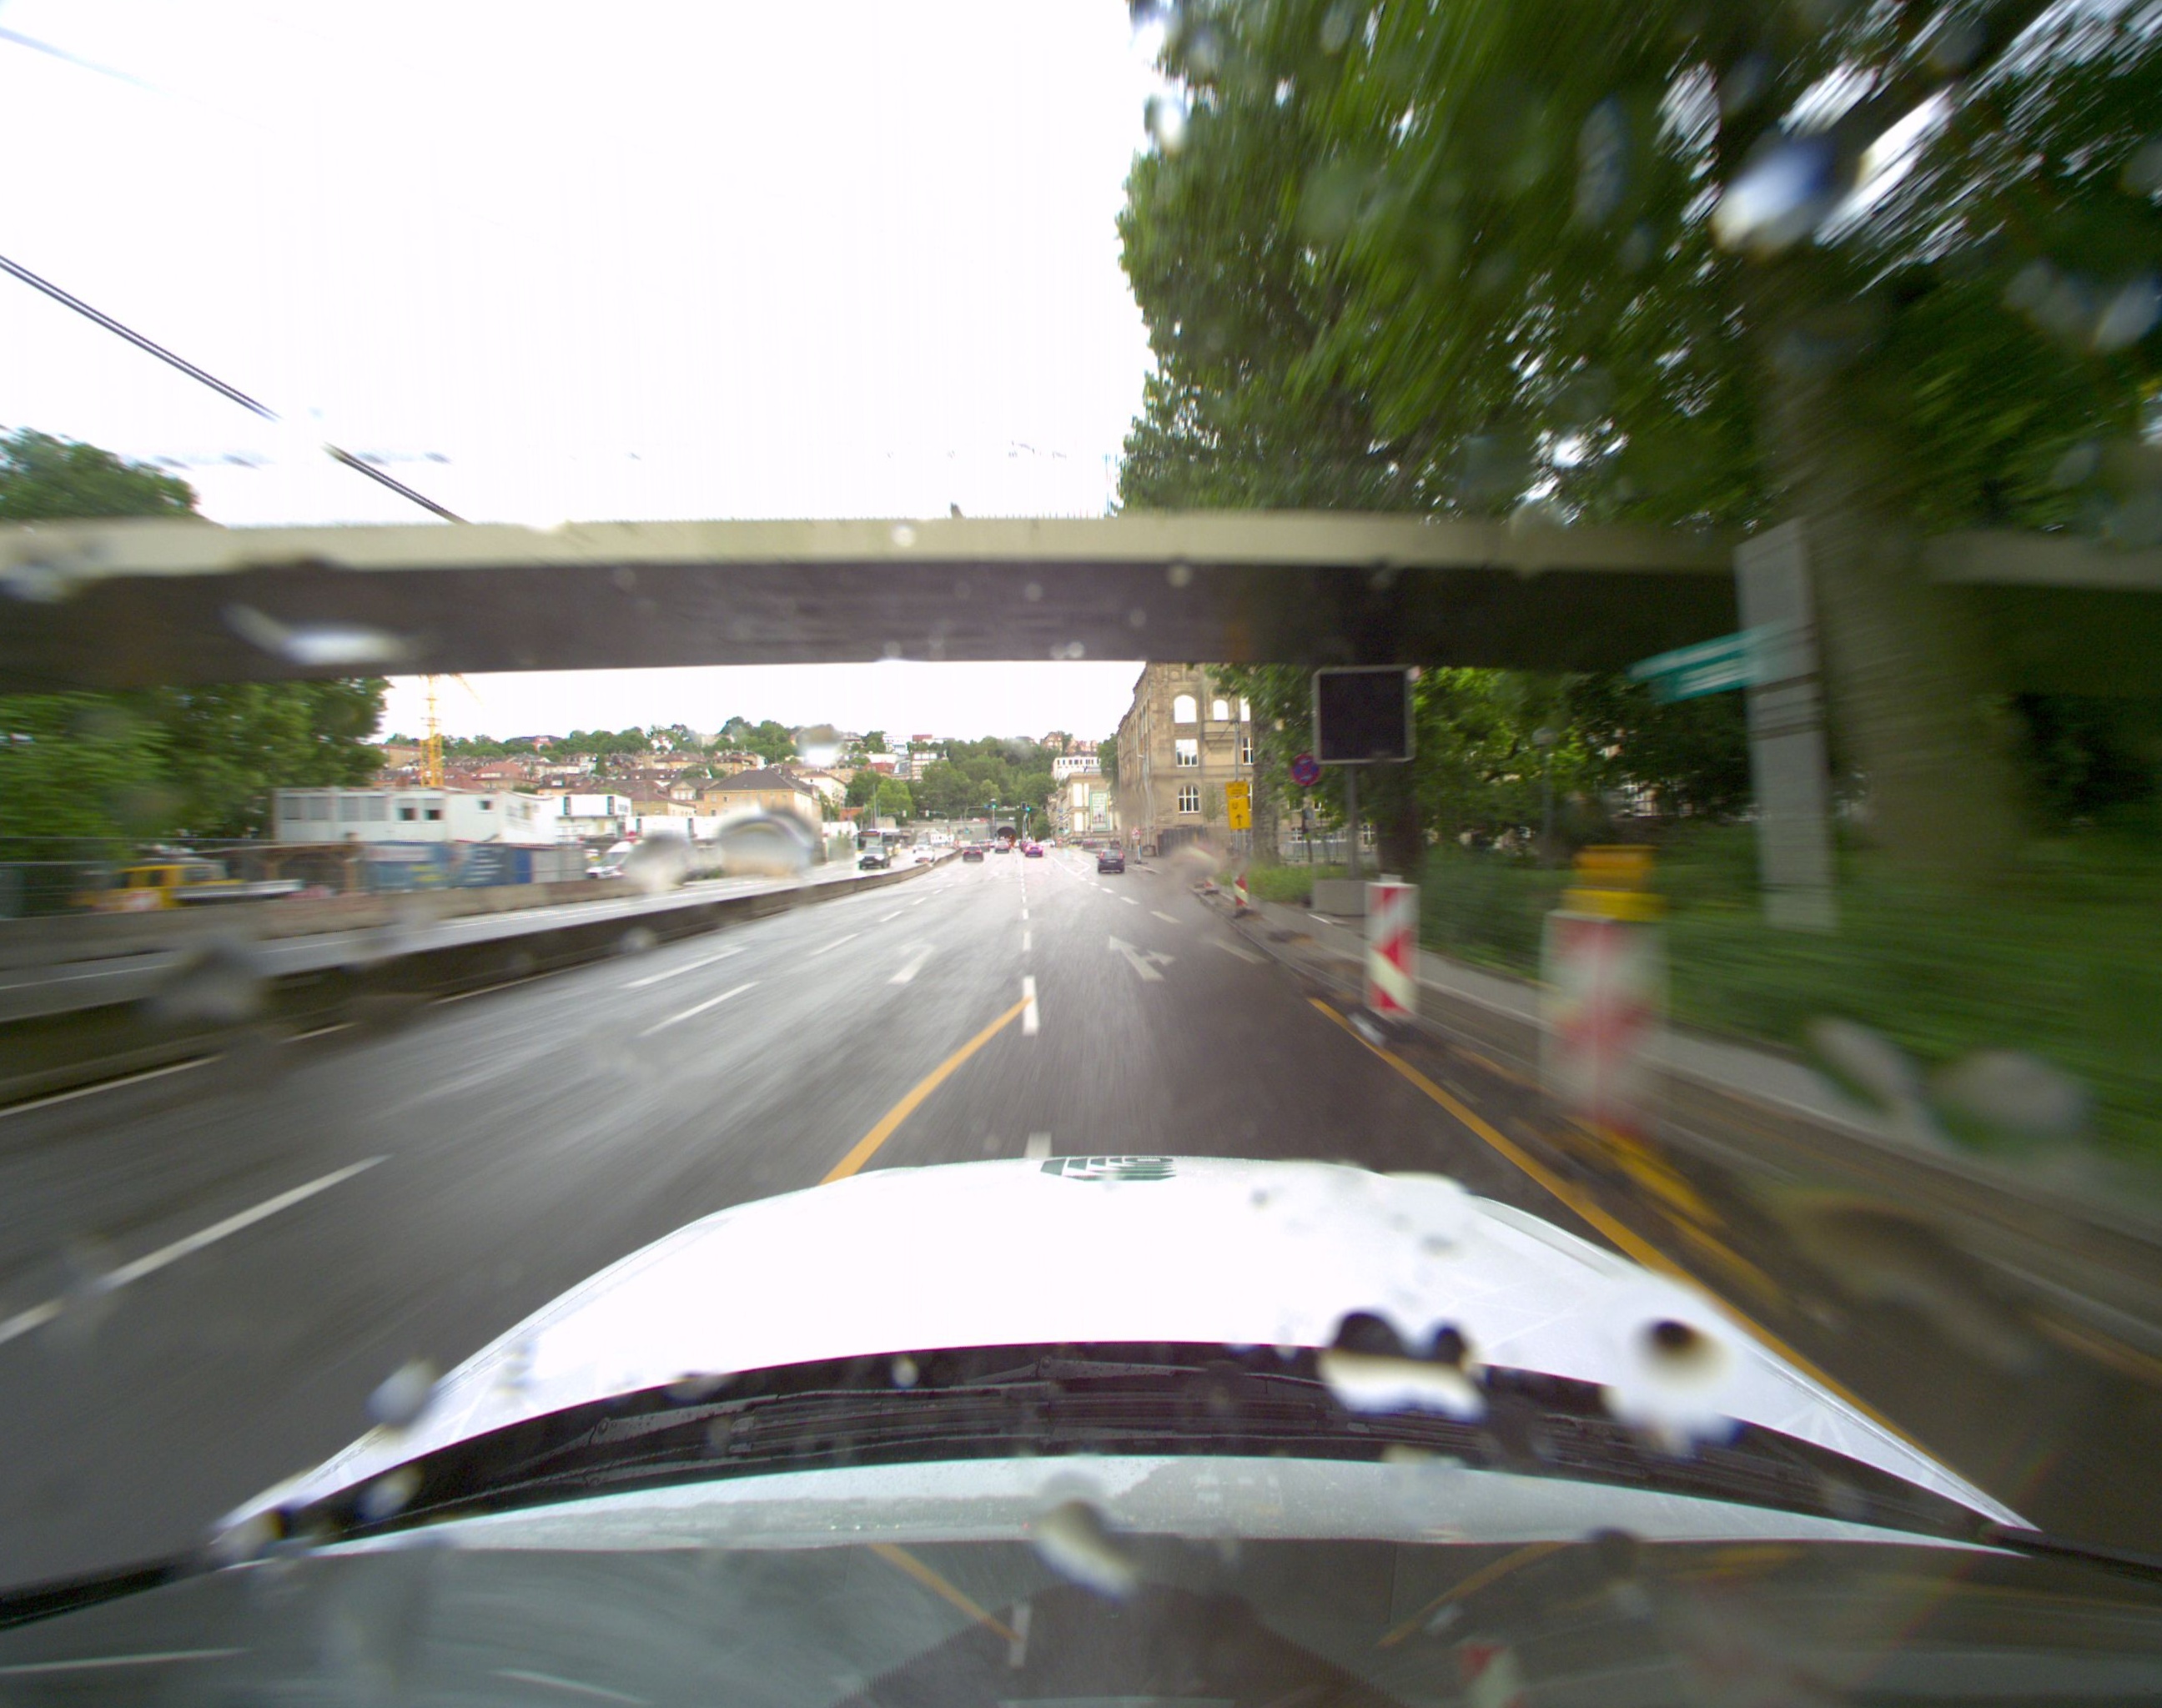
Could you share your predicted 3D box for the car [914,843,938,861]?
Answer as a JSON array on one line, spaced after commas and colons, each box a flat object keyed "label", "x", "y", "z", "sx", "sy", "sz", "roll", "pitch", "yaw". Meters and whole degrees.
[{"label": "car", "x": -14.182, "y": -0.179, "z": 74.787, "sx": 1.706, "sy": 1.489, "sz": 3.445, "roll": -3, "pitch": -1, "yaw": -4}]

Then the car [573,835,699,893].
[{"label": "car", "x": -24.153, "y": 0.525, "z": 44.499, "sx": 1.976, "sy": 2.875, "sz": 6.084, "roll": -3, "pitch": -1, "yaw": 21}]

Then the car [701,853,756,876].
[{"label": "car", "x": -26.784, "y": 0.796, "z": 62.073, "sx": 1.754, "sy": 1.565, "sz": 4.688, "roll": -3, "pitch": -1, "yaw": 4}]

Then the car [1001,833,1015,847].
[{"label": "car", "x": -10.965, "y": -2.150, "z": 122.331, "sx": 1.992, "sy": 1.869, "sz": 3.990, "roll": -3, "pitch": -1, "yaw": -7}]

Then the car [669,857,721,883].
[{"label": "car", "x": -26.975, "y": 1.082, "z": 57.062, "sx": 1.758, "sy": 1.565, "sz": 4.171, "roll": -2, "pitch": 1, "yaw": -3}]

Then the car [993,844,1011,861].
[{"label": "car", "x": -10.057, "y": -0.152, "z": 103.362, "sx": 2.049, "sy": 2.014, "sz": 3.991, "roll": -3, "pitch": -1, "yaw": -7}]

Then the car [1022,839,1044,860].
[{"label": "car", "x": -5.258, "y": -0.497, "z": 88.457, "sx": 2.102, "sy": 2.050, "sz": 3.992, "roll": -3, "pitch": -1, "yaw": -6}]

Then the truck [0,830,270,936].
[{"label": "truck", "x": -26.201, "y": 0.785, "z": 21.447, "sx": 6.284, "sy": 2.452, "sz": 2.682, "roll": -3, "pitch": -1, "yaw": -13}]

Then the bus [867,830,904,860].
[{"label": "bus", "x": -22.061, "y": -0.978, "z": 92.159, "sx": 2.699, "sy": 3.151, "sz": 9.132, "roll": -2, "pitch": 0, "yaw": -6}]

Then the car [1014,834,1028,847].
[{"label": "car", "x": -10.129, "y": -2.210, "z": 137.493, "sx": 1.993, "sy": 2.013, "sz": 3.988, "roll": -3, "pitch": 0, "yaw": -9}]

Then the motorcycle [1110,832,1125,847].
[{"label": "motorcycle", "x": 5.000, "y": -1.995, "z": 112.791, "sx": 1.790, "sy": 2.013, "sz": 3.811, "roll": -2, "pitch": 2, "yaw": -2}]

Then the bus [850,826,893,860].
[{"label": "bus", "x": -21.267, "y": -1.033, "z": 83.079, "sx": 2.802, "sy": 3.184, "sz": 8.790, "roll": -3, "pitch": 0, "yaw": -6}]

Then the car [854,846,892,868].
[{"label": "car", "x": -16.299, "y": 0.207, "z": 63.962, "sx": 2.079, "sy": 1.630, "sz": 4.843, "roll": -2, "pitch": 1, "yaw": -5}]

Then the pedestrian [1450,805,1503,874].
[{"label": "pedestrian", "x": 11.825, "y": -0.425, "z": 24.373, "sx": 1.058, "sy": 2.013, "sz": 1.027, "roll": -2, "pitch": 0, "yaw": -40}]

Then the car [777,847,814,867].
[{"label": "car", "x": -26.534, "y": 0.237, "z": 75.782, "sx": 1.988, "sy": 1.621, "sz": 3.998, "roll": -2, "pitch": 2, "yaw": -2}]

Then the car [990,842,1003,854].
[{"label": "car", "x": -15.983, "y": -1.158, "z": 153.394, "sx": 2.291, "sy": 2.014, "sz": 4.592, "roll": -3, "pitch": -1, "yaw": -8}]

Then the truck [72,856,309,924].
[{"label": "truck", "x": -30.828, "y": 1.189, "z": 28.401, "sx": 5.248, "sy": 2.013, "sz": 2.156, "roll": -3, "pitch": 0, "yaw": -10}]

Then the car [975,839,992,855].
[{"label": "car", "x": -13.221, "y": -0.977, "z": 110.419, "sx": 1.989, "sy": 2.014, "sz": 3.995, "roll": -3, "pitch": -1, "yaw": -3}]

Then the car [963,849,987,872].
[{"label": "car", "x": -9.913, "y": 0.628, "z": 76.378, "sx": 2.014, "sy": 2.014, "sz": 3.992, "roll": -3, "pitch": -1, "yaw": -6}]

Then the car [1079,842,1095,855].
[{"label": "car", "x": 1.021, "y": -0.940, "z": 133.789, "sx": 1.981, "sy": 2.013, "sz": 4.012, "roll": -1, "pitch": 0, "yaw": 11}]

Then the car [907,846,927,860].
[{"label": "car", "x": -20.511, "y": -0.097, "z": 102.222, "sx": 2.037, "sy": 1.662, "sz": 4.920, "roll": -3, "pitch": -1, "yaw": -7}]

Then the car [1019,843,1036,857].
[{"label": "car", "x": -7.354, "y": -0.575, "z": 111.368, "sx": 1.992, "sy": 1.698, "sz": 3.989, "roll": -3, "pitch": -1, "yaw": -8}]

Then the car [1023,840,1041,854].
[{"label": "car", "x": -6.274, "y": -0.880, "z": 104.439, "sx": 1.992, "sy": 1.698, "sz": 3.989, "roll": -3, "pitch": -1, "yaw": -8}]

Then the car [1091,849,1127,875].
[{"label": "car", "x": 1.730, "y": 0.520, "z": 51.553, "sx": 1.809, "sy": 1.527, "sz": 3.994, "roll": -3, "pitch": -1, "yaw": -4}]
